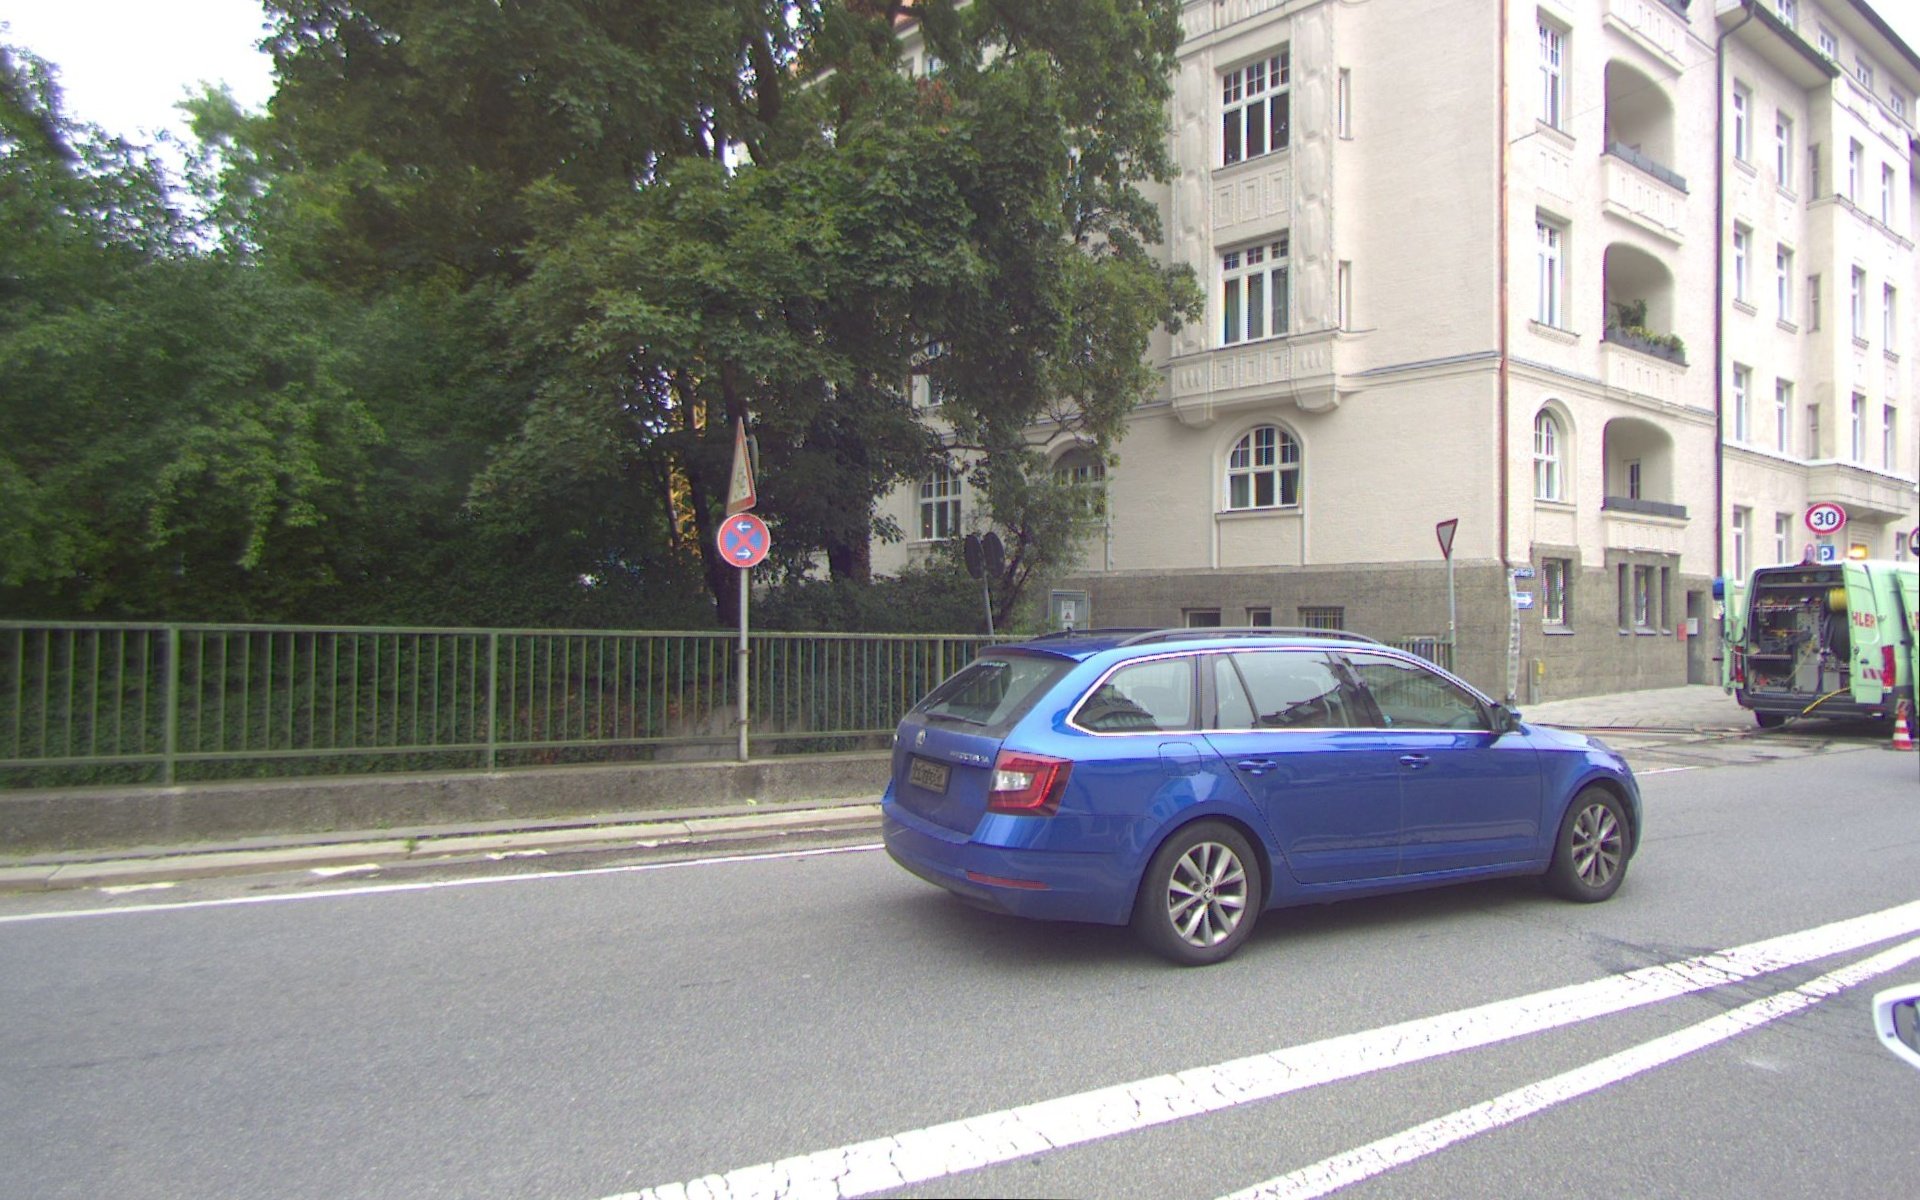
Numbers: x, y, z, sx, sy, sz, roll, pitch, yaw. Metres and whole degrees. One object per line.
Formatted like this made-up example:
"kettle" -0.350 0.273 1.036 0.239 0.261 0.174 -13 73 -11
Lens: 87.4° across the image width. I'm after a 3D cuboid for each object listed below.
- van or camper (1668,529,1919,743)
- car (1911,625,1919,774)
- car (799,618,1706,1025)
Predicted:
"van or camper" 14.365 0.508 16.273 6.117 2.878 2.586 0 -1 -32
"car" 11.657 1.004 10.261 4.026 1.480 1.751 1 -2 -30
"car" 1.654 0.888 5.542 4.670 1.473 1.982 2 -2 -25
